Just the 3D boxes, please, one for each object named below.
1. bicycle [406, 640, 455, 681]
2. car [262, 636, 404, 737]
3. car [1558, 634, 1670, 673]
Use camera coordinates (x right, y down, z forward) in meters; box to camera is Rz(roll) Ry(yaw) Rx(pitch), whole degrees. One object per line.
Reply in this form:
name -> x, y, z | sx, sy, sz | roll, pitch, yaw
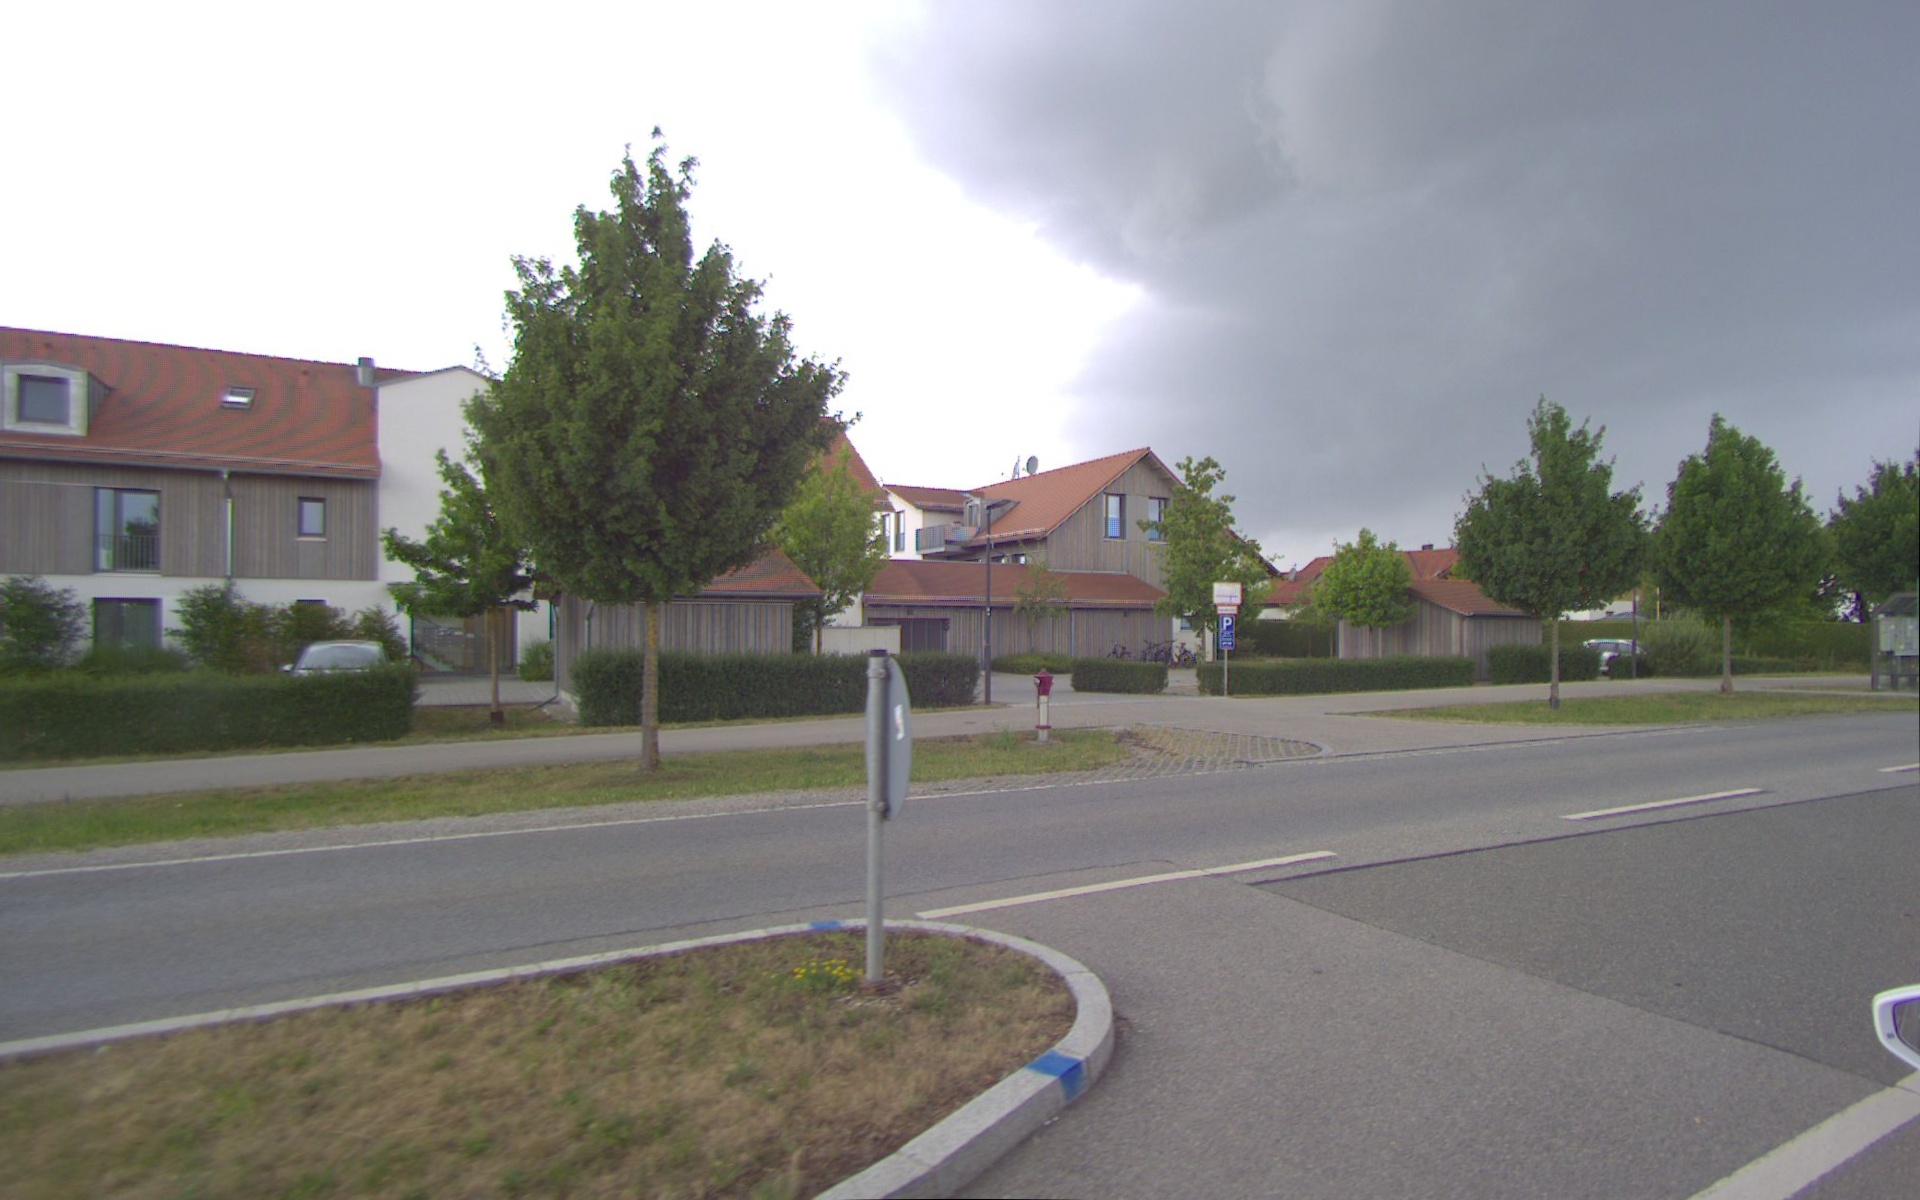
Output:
bicycle -> -15.385, 1.741, 29.192 | 1.255, 1.161, 0.360 | 1, -3, -30
car -> -11.850, 1.547, 19.236 | 1.975, 1.577, 3.971 | 1, 0, -28
car -> 27.407, 2.241, 42.193 | 1.641, 1.549, 3.571 | 1, -3, -32
